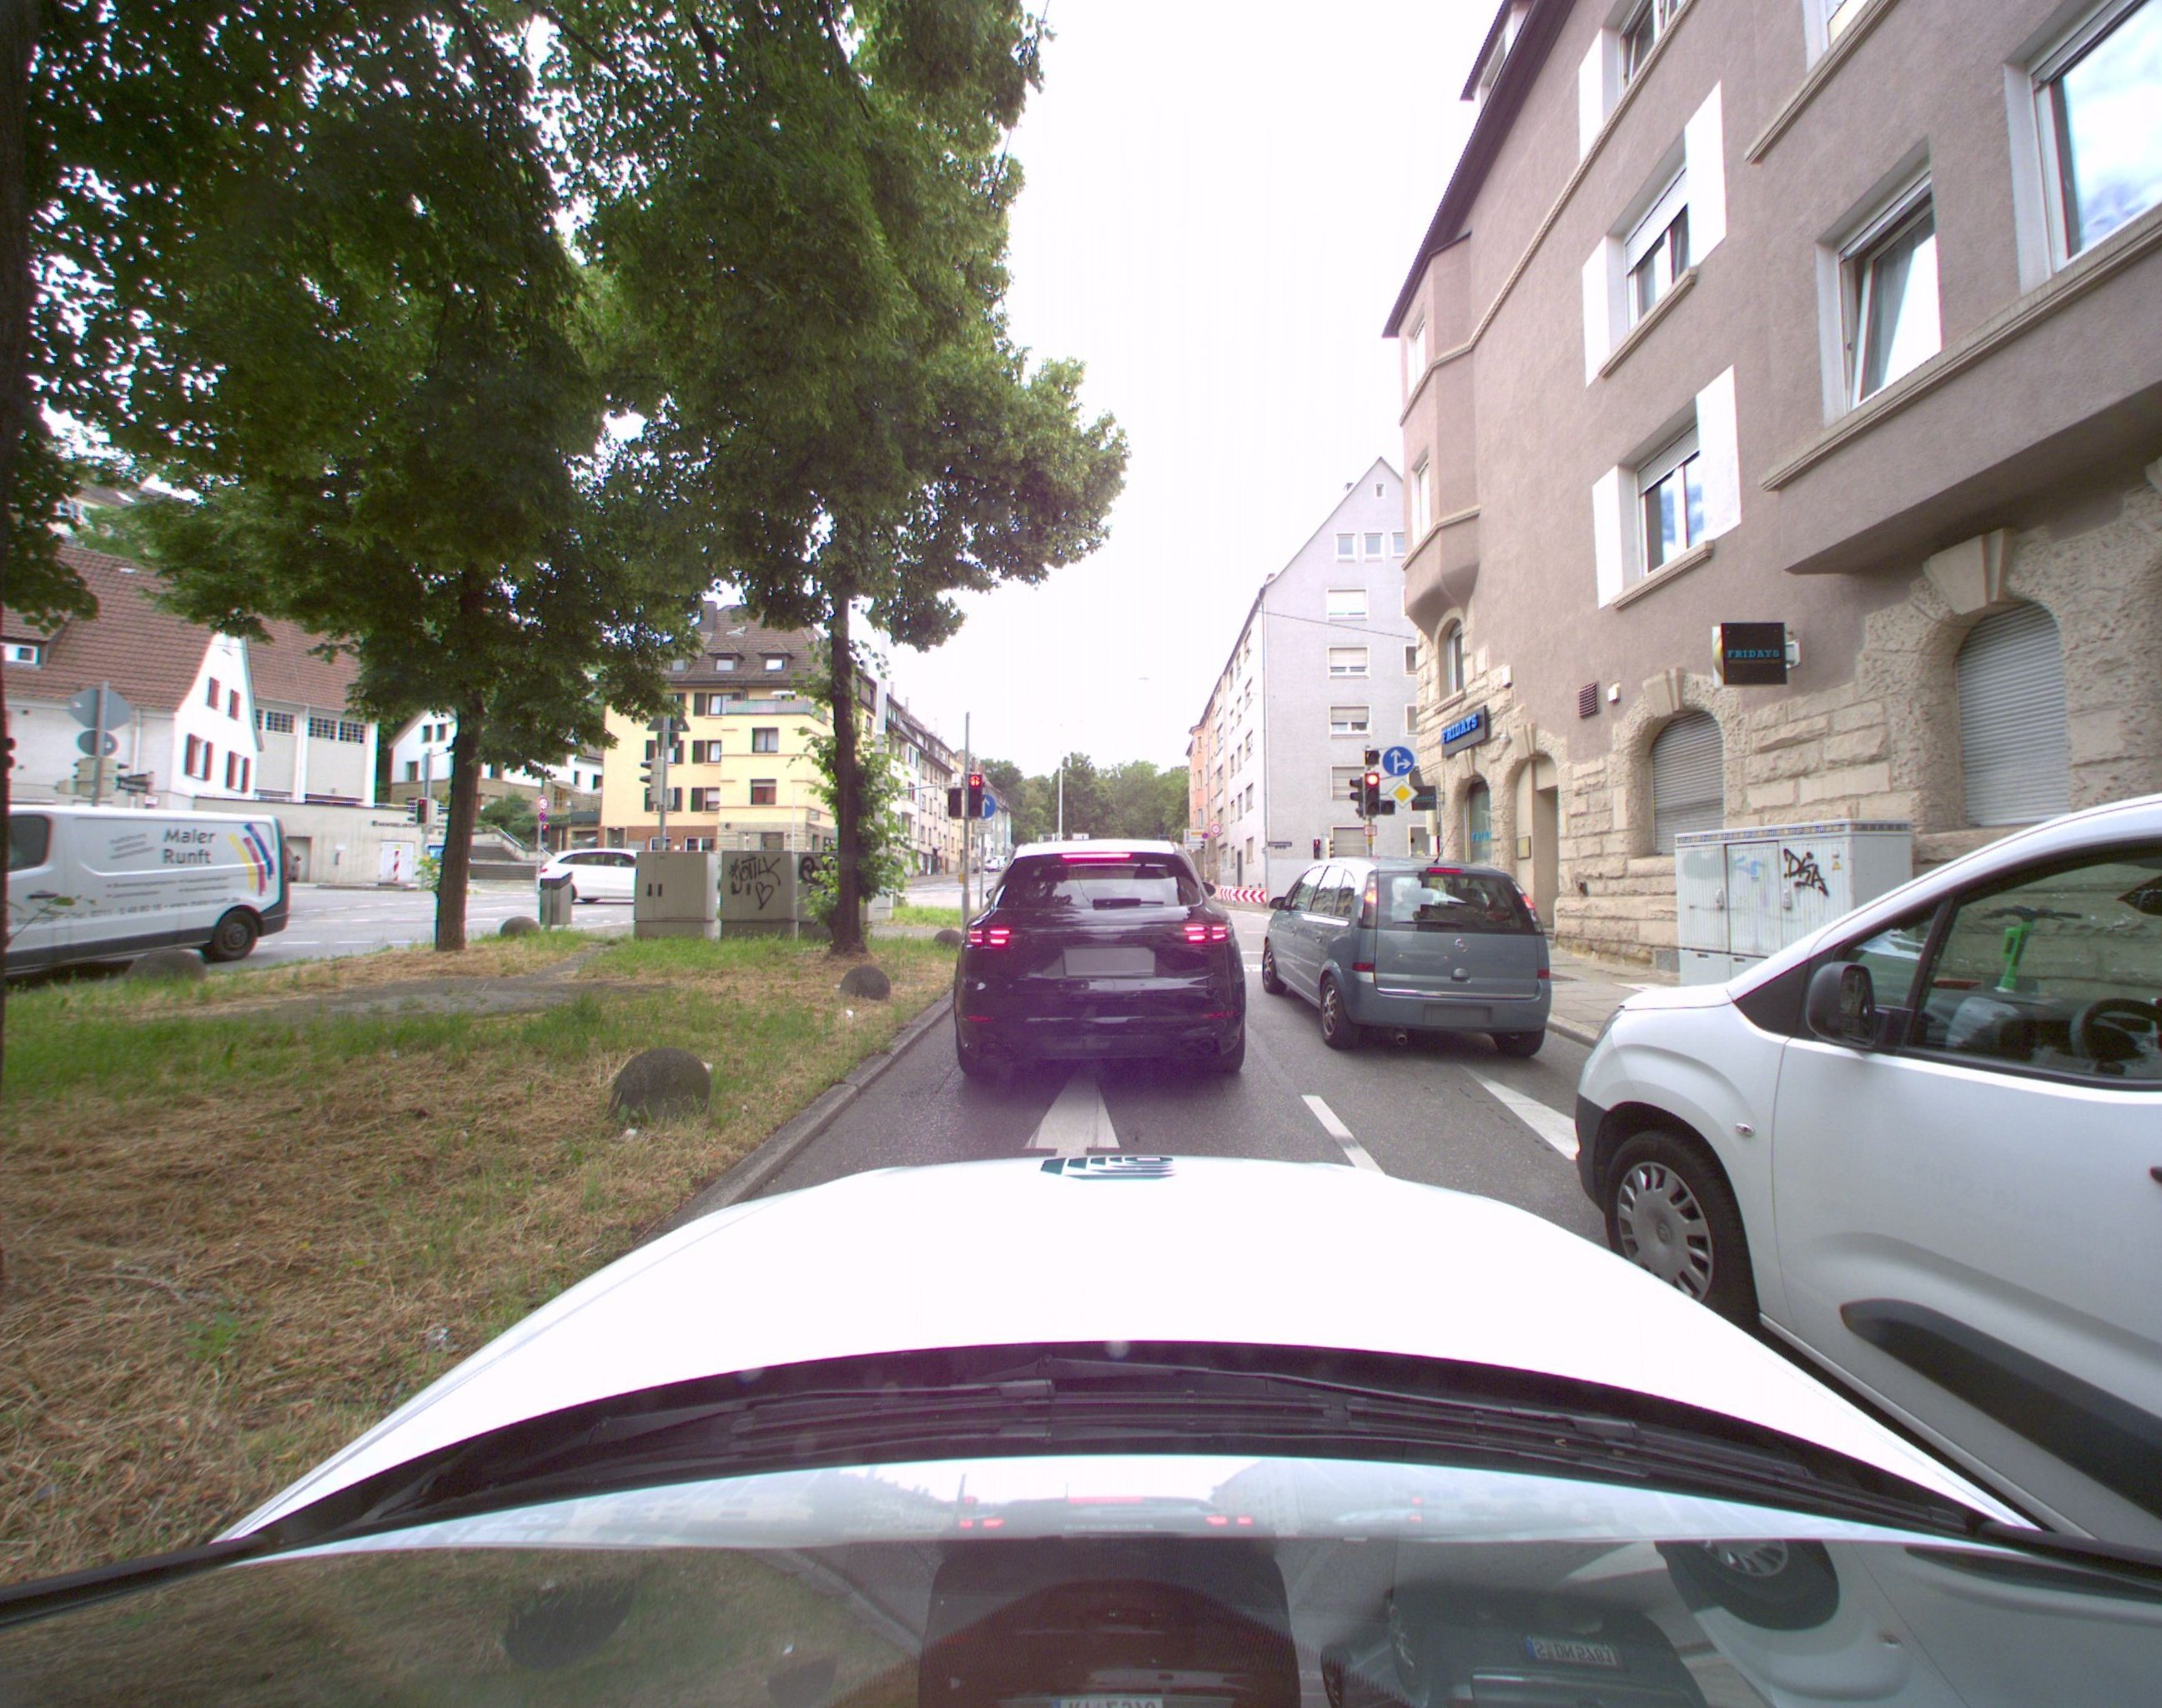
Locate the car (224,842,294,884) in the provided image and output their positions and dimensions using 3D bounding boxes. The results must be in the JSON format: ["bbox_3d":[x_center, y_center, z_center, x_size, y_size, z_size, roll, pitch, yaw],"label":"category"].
[{"bbox_3d":[-32.160,0.350,31.838,3.019,1.405,1.681,2,-4,42],"label":"car"}]

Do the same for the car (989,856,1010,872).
[{"bbox_3d":[-10.476,1.263,104.757,2.008,2.045,4.669,0,-1,2],"label":"car"}]

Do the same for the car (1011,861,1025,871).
[{"bbox_3d":[-9.662,1.853,125.472,1.682,1.538,3.815,0,-1,2],"label":"car"}]

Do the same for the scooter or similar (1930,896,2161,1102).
[{"bbox_3d":[6.461,0.862,5.260,0.524,1.104,1.424,-1,-1,4],"label":"scooter or similar"}]

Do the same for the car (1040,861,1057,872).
[{"bbox_3d":[-4.342,1.641,108.694,1.854,1.388,4.096,0,0,2],"label":"car"}]

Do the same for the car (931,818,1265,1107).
[{"bbox_3d":[0.159,0.657,6.823,1.948,1.674,4.001,-1,-1,2],"label":"car"}]

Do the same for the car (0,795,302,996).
[{"bbox_3d":[-11.591,0.394,8.764,1.994,1.945,5.288,0,0,-10],"label":"car"}]

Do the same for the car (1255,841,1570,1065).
[{"bbox_3d":[2.866,0.753,7.923,1.622,1.598,3.670,3,0,2],"label":"car"}]

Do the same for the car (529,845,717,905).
[{"bbox_3d":[-12.796,0.580,22.997,4.248,1.594,1.686,0,-1,-9],"label":"car"}]

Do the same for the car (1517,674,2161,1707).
[{"bbox_3d":[2.832,0.619,1.081,1.969,1.775,4.676,3,0,0],"label":"car"}]

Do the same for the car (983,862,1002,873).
[{"bbox_3d":[-10.786,1.637,99.303,1.732,1.387,3.815,0,0,2],"label":"car"}]
